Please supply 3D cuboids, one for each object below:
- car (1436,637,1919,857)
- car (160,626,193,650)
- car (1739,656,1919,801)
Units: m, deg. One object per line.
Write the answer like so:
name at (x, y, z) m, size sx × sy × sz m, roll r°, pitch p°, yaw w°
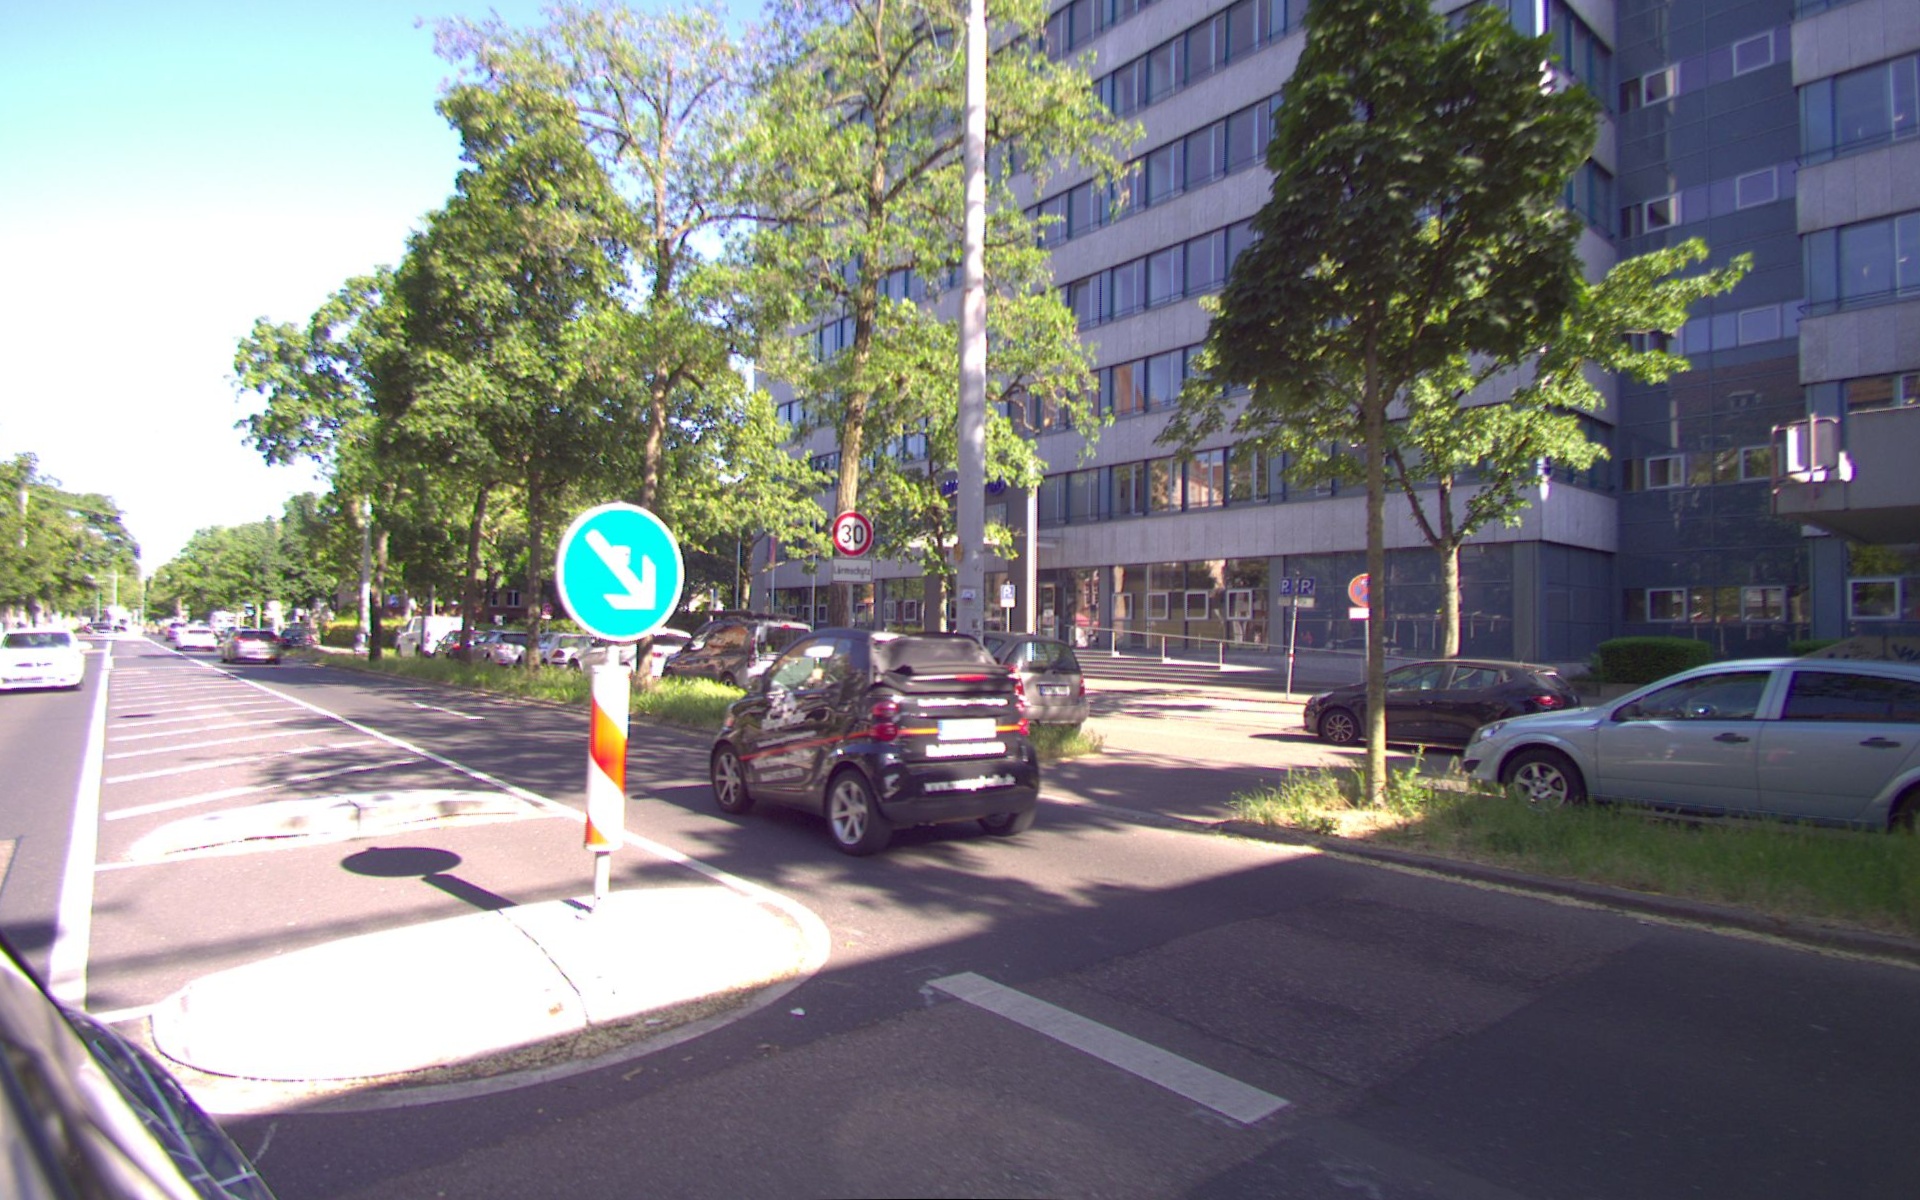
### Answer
car at (6.367, 1.097, 8.152) m, size 1.632 × 1.459 × 4.288 m, roll 7°, pitch -6°, yaw -41°
car at (-68.343, 3.340, 88.224) m, size 2.136 × 2.029 × 4.419 m, roll 2°, pitch -3°, yaw -38°
car at (11.390, 1.442, 11.289) m, size 1.710 × 1.542 × 4.006 m, roll 3°, pitch -3°, yaw -40°
